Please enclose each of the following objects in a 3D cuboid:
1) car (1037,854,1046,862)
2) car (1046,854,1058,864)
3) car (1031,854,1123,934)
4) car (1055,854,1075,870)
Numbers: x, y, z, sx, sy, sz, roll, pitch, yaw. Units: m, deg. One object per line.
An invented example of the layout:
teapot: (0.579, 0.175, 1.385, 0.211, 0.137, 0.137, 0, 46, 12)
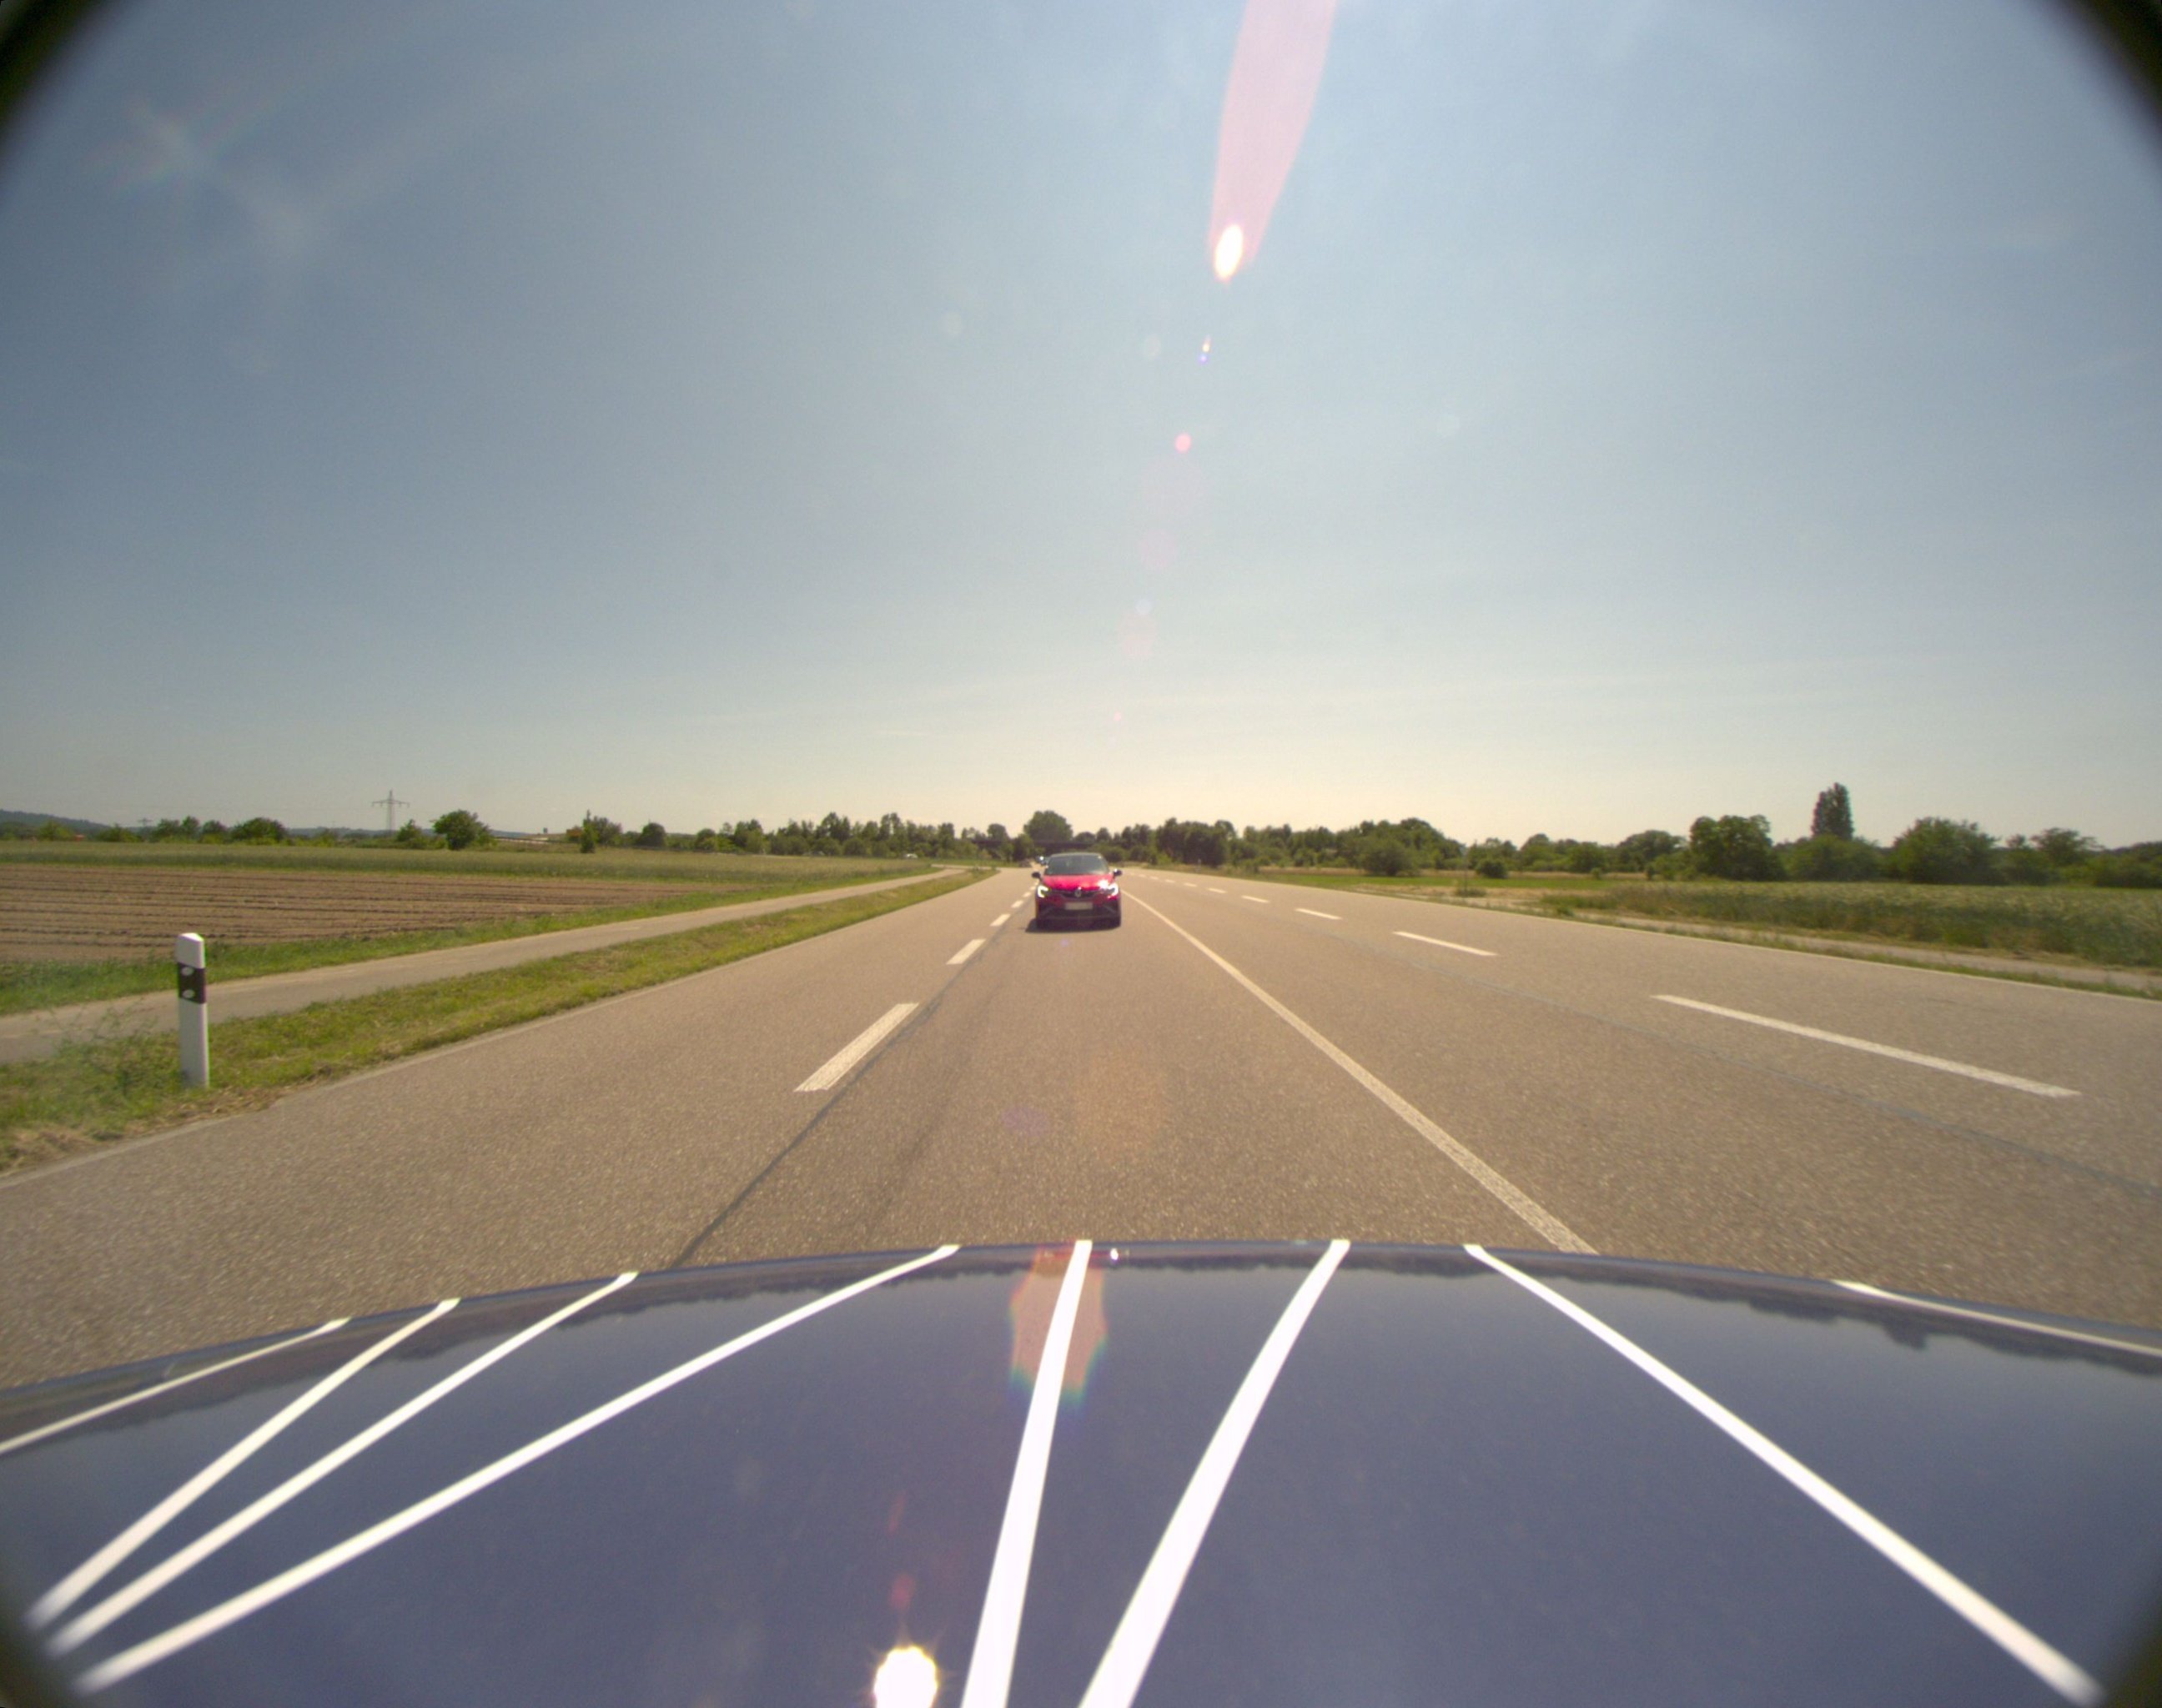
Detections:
car: (-8.995, 0.916, 173.995, 1.983, 1.587, 5.400, -1, 0, -3)
car: (-4.747, 0.794, 126.125, 1.983, 1.587, 5.401, -1, 0, -2)
car: (-0.033, 0.809, 17.666, 1.837, 1.587, 4.722, -1, 0, 1)
car: (-1.586, 0.784, 77.631, 1.983, 1.587, 5.401, -1, 0, -1)
